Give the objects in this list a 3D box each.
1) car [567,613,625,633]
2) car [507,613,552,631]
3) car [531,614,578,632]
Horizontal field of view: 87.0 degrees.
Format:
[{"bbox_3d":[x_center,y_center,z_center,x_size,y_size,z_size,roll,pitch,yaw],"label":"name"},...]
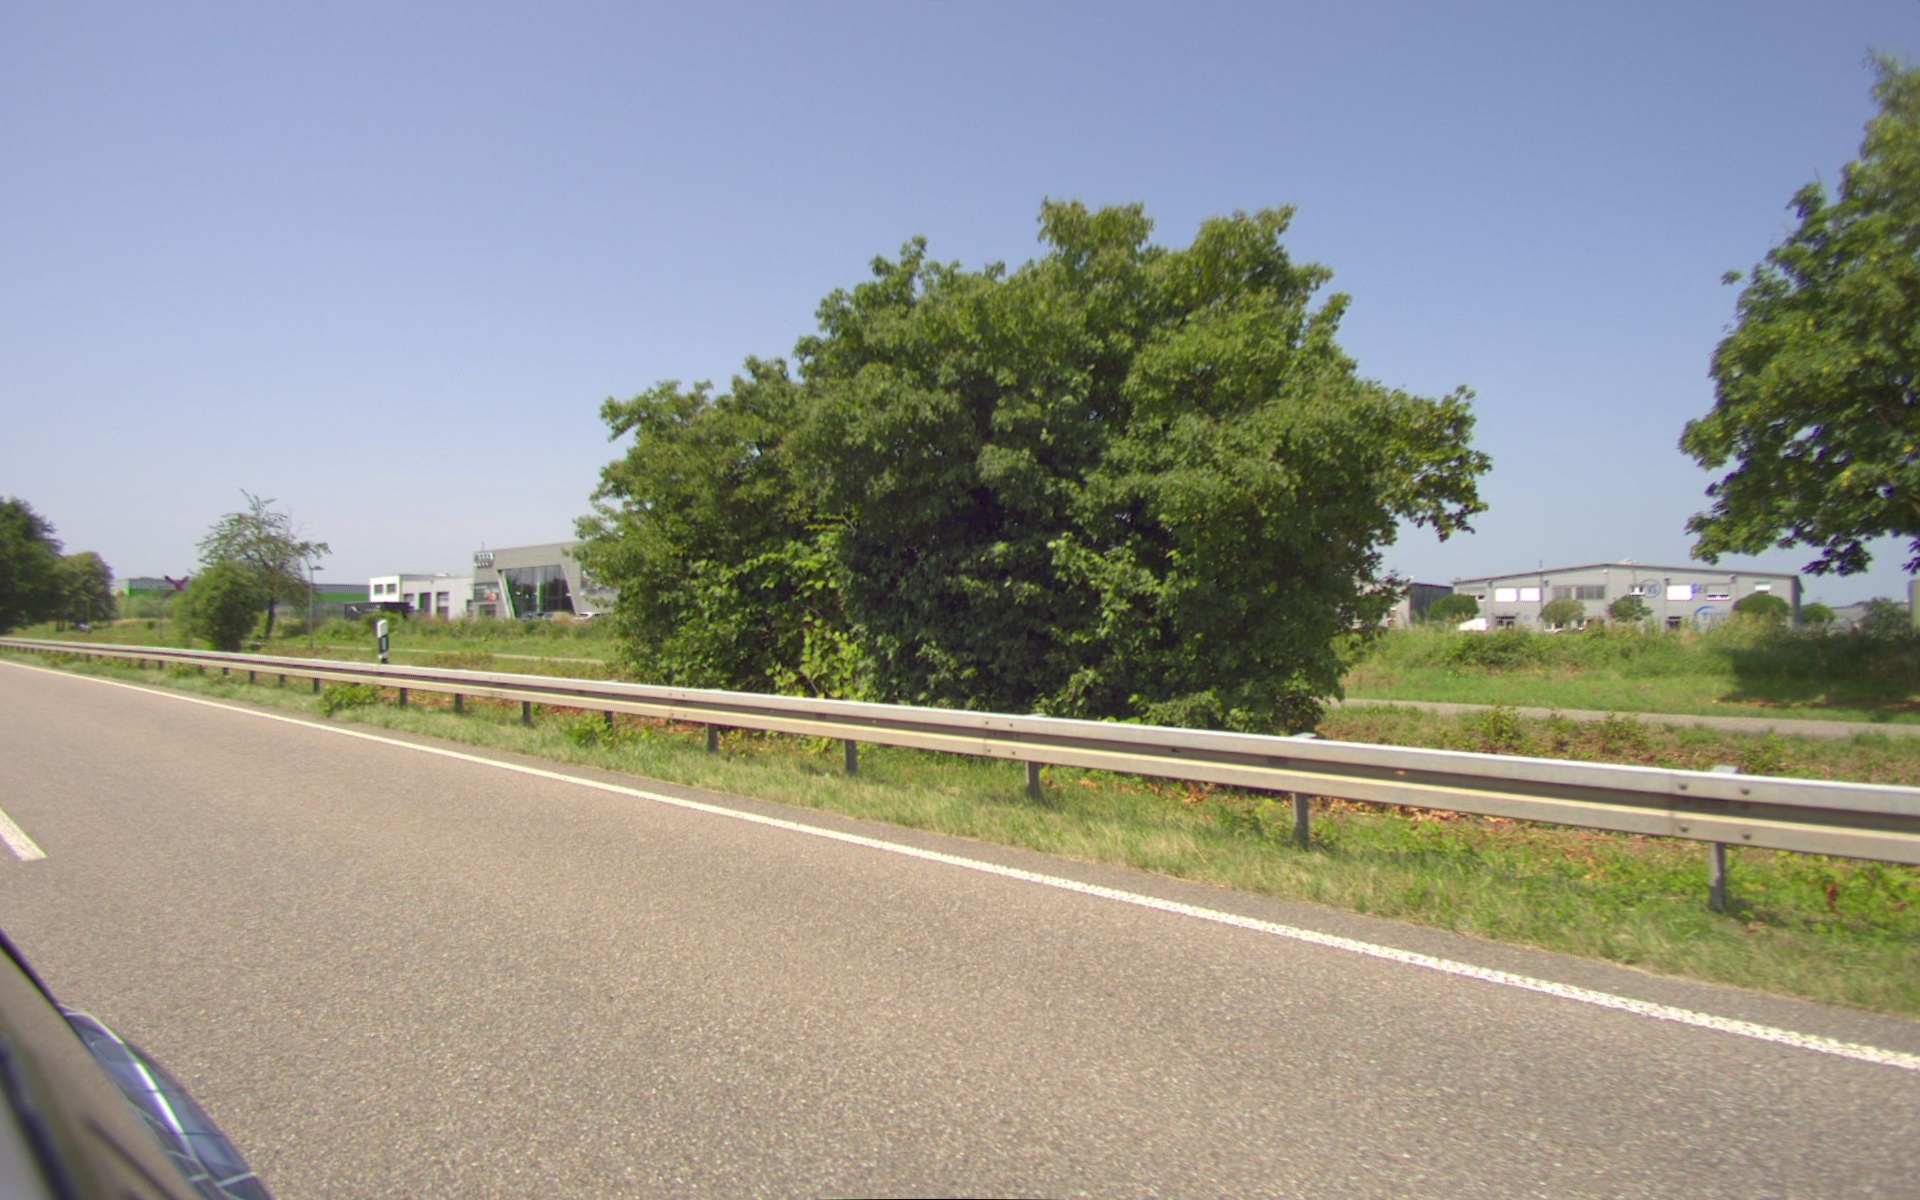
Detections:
[{"bbox_3d":[-28.976,1.854,80.607,1.620,1.448,4.190,-1,-3,34],"label":"car"},{"bbox_3d":[-37.544,1.950,88.253,4.662,1.549,1.729,-1,-3,41],"label":"car"},{"bbox_3d":[-33.961,1.928,84.667,4.662,1.448,1.729,-1,-3,41],"label":"car"}]
